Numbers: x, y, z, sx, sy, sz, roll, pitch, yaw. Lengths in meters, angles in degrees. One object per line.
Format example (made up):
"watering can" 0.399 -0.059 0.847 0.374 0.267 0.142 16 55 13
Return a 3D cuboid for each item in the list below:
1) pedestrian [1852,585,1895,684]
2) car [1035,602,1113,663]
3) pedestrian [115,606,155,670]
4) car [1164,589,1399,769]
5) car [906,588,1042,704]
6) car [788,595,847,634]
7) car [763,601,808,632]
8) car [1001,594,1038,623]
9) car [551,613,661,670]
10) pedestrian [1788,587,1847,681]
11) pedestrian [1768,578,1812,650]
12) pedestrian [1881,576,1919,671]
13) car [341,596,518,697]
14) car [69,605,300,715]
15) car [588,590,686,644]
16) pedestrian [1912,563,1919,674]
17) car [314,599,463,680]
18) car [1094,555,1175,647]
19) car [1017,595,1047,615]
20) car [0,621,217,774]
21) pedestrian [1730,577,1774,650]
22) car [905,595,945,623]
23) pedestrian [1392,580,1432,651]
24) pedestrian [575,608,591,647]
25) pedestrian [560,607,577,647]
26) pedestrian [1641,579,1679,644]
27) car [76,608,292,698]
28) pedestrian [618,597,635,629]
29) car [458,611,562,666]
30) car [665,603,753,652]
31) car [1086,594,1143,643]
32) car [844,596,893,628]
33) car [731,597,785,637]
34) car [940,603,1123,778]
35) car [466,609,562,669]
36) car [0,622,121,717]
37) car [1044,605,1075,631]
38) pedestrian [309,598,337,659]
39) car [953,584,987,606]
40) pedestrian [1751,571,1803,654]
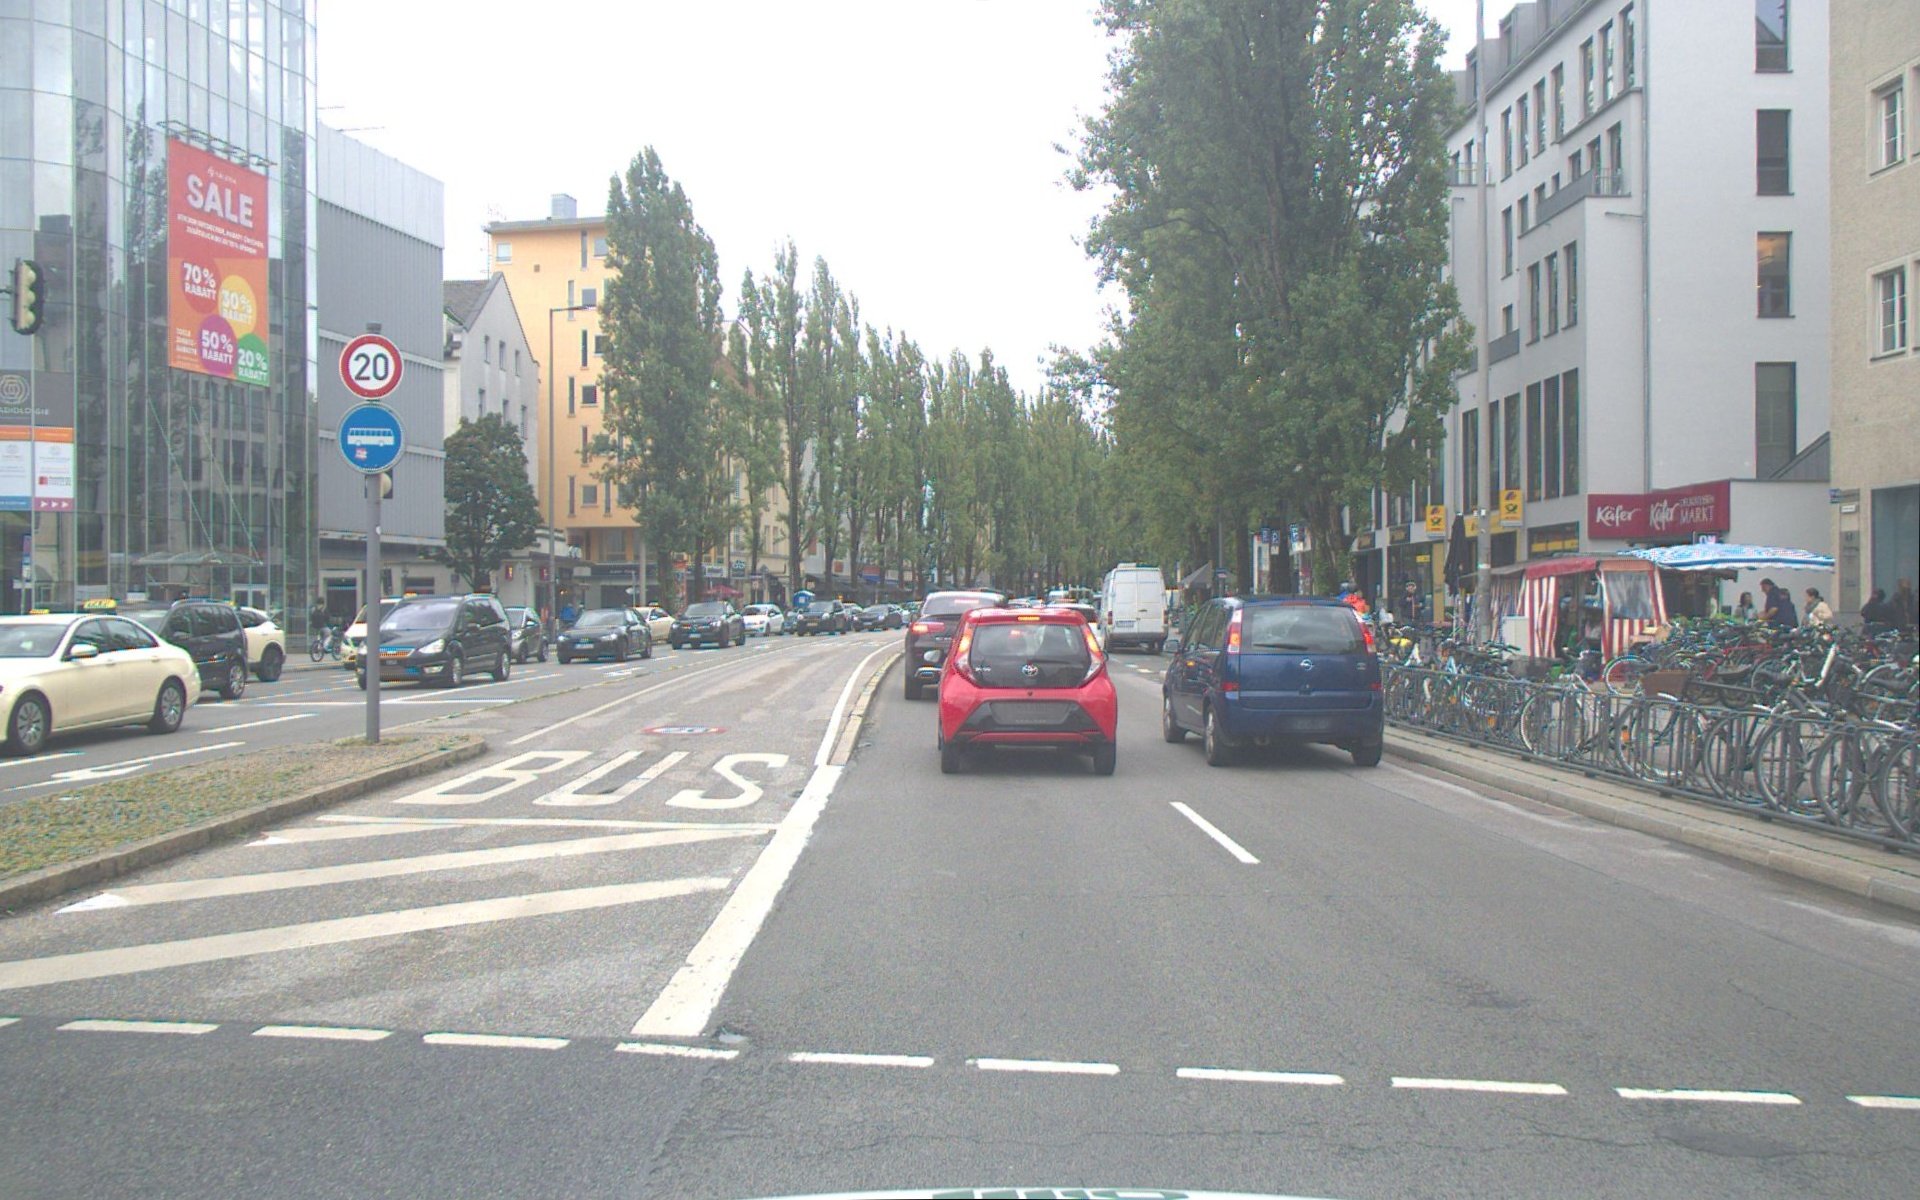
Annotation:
"pedestrian" 14.371 0.530 26.019 0.568 1.531 0.615 -1 0 31
"car" 2.865 0.803 42.304 1.665 1.451 3.496 -1 0 -1
"pedestrian" -22.431 1.029 44.987 0.637 1.721 0.712 -1 0 12
"car" 3.150 0.718 16.865 1.668 1.617 3.555 1 0 -1
"car" 0.170 0.663 25.984 1.953 1.646 3.999 -1 0 -1
"car" -6.792 0.673 79.298 1.951 1.721 4.924 2 0 4
"car" -9.165 0.849 87.157 1.709 1.598 3.494 -1 0 4
"car" 3.098 0.425 85.913 1.735 1.464 3.940 -1 0 4
"car" -9.634 1.092 45.359 1.806 1.406 4.602 -1 0 2
"pedestrian" 14.428 0.559 27.832 0.794 1.548 0.798 -1 0 32
"pedestrian" 16.655 0.280 33.186 0.563 1.427 0.580 -1 0 -1
"pedestrian" 15.116 0.370 26.583 0.497 1.510 0.463 -1 0 35
"car" -10.091 0.830 31.856 1.897 1.769 4.588 -1 0 0
"car" -12.840 0.936 27.704 1.801 1.642 4.258 -1 0 1
"car" -12.460 0.622 64.115 1.951 1.847 4.537 -3 1 13
"pedestrian" 15.071 0.275 25.518 0.590 1.699 0.683 -1 0 34
"car" -15.938 1.051 46.504 1.952 2.049 5.526 -1 1 3
"car" 5.490 0.028 52.671 2.063 2.766 4.804 -1 0 0
"car" 6.400 0.425 146.764 1.951 1.721 4.417 -1 0 12
"car" -10.285 1.006 18.627 1.729 1.446 4.639 -1 0 0
"pedestrian" 15.896 0.268 33.200 0.586 1.427 0.580 -1 0 -1
"car" -2.196 0.529 105.199 1.951 1.721 4.924 -1 0 6
"pedestrian" 11.348 0.391 41.547 0.774 1.758 0.763 -1 0 -1
"pedestrian" -19.733 1.429 86.569 0.673 2.032 0.765 -1 0 0
"pedestrian" -20.479 1.409 86.506 0.673 2.032 0.765 -1 0 -2
"pedestrian" 15.678 0.257 37.059 0.586 1.427 0.580 -1 0 -1
"car" -16.052 1.055 34.474 1.951 1.708 4.187 -1 0 12
"pedestrian" -19.326 0.774 95.910 0.673 1.842 0.766 -1 0 11
"car" -14.820 1.239 54.763 1.952 1.684 4.535 -1 0 3
"car" -8.603 0.914 57.122 1.951 1.561 4.590 -1 0 5
"car" 5.446 0.638 58.749 1.668 1.691 3.555 0 0 -1
"car" -5.147 0.659 93.654 1.951 1.721 4.924 -1 0 6
"car" -9.929 0.827 81.574 1.817 1.847 4.002 1 0 5
"car" 0.626 0.788 15.944 1.572 1.487 3.130 1 0 0
"car" -12.480 1.072 46.464 1.590 1.579 3.385 -1 0 4
"car" -17.051 1.217 28.875 1.951 1.534 4.638 -1 0 8
"car" 7.289 1.310 121.177 1.951 1.870 4.003 -1 0 7
"pedestrian" -19.407 0.865 50.407 0.545 1.849 0.628 -1 0 10
"car" 0.873 -0.420 136.636 1.951 1.721 4.418 -1 0 12
"pedestrian" 14.372 0.216 29.102 0.603 1.450 0.659 -1 0 4
